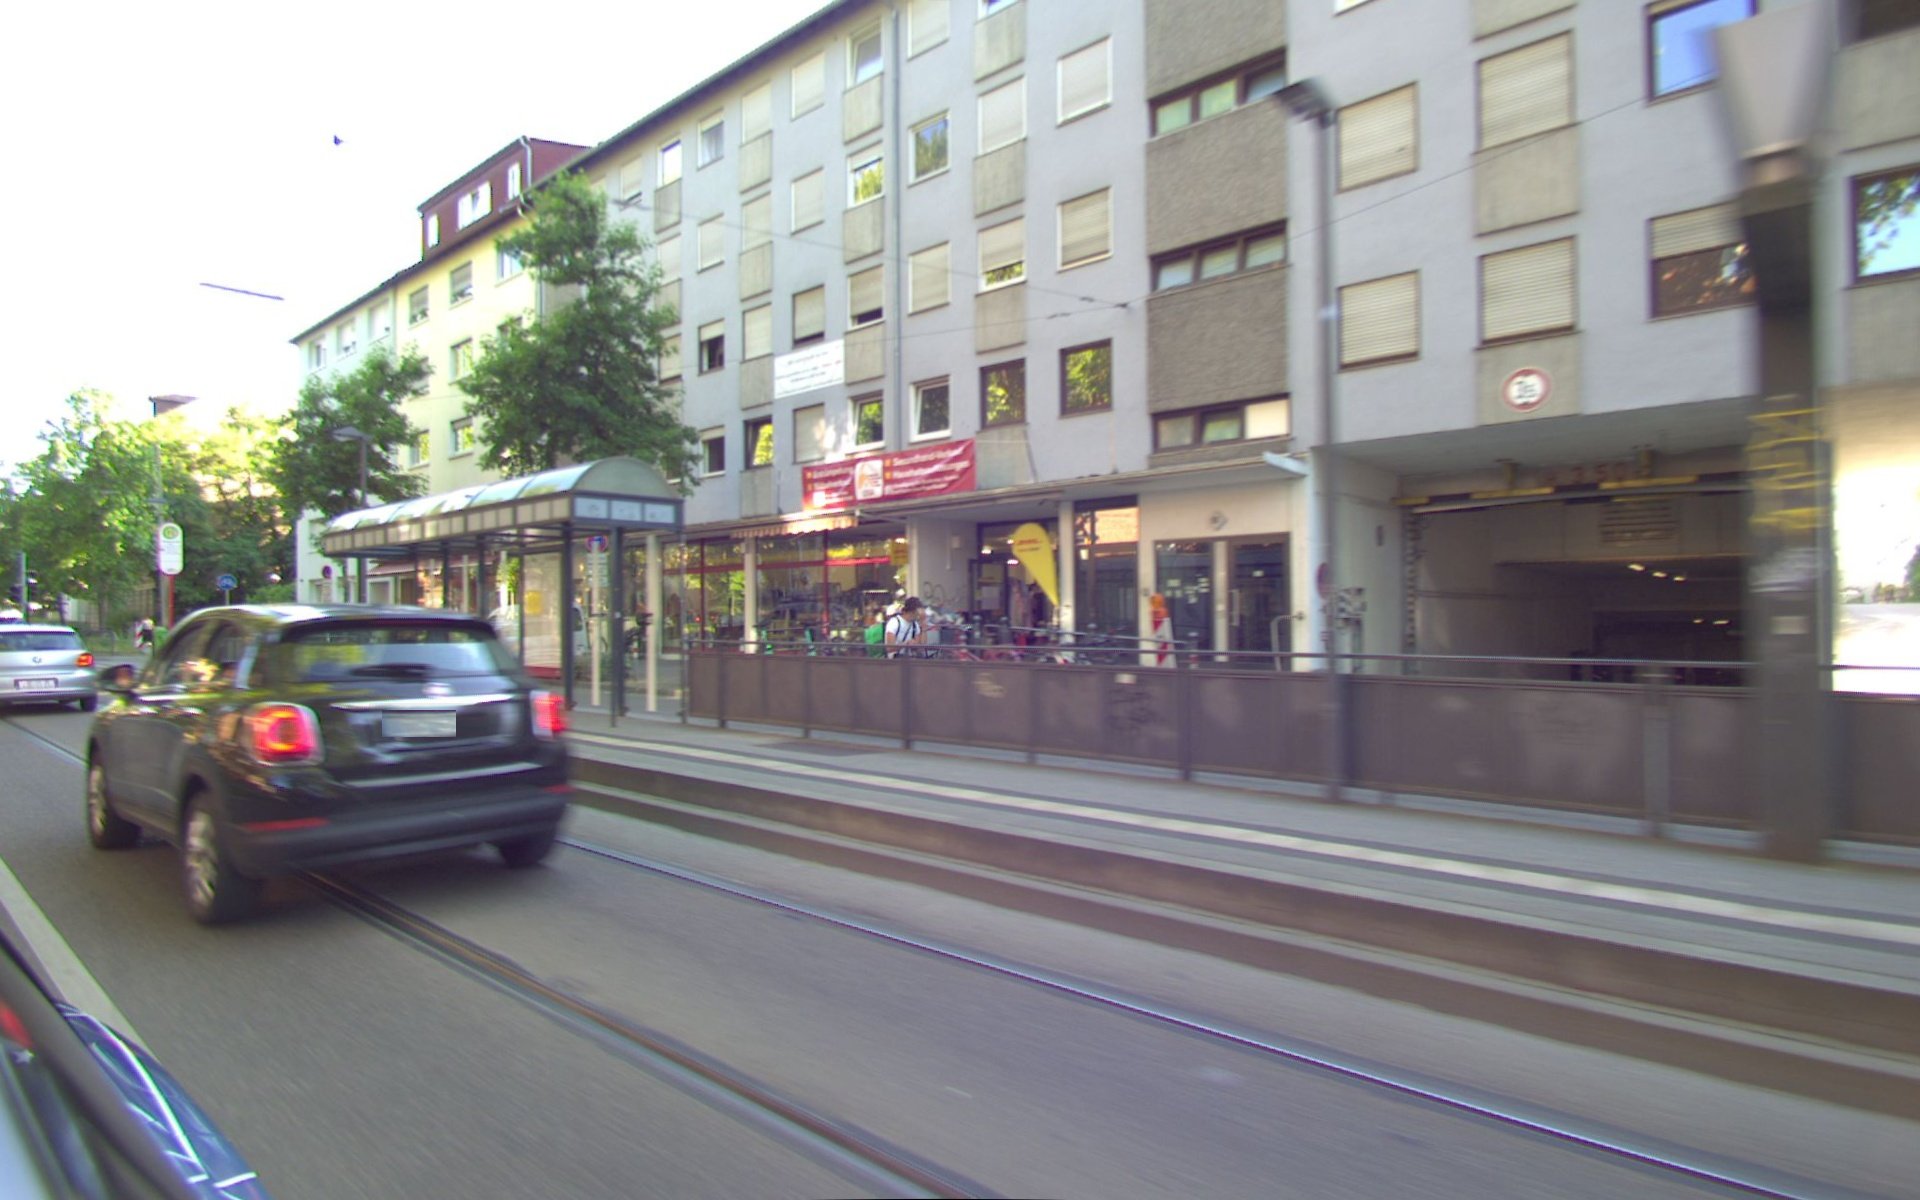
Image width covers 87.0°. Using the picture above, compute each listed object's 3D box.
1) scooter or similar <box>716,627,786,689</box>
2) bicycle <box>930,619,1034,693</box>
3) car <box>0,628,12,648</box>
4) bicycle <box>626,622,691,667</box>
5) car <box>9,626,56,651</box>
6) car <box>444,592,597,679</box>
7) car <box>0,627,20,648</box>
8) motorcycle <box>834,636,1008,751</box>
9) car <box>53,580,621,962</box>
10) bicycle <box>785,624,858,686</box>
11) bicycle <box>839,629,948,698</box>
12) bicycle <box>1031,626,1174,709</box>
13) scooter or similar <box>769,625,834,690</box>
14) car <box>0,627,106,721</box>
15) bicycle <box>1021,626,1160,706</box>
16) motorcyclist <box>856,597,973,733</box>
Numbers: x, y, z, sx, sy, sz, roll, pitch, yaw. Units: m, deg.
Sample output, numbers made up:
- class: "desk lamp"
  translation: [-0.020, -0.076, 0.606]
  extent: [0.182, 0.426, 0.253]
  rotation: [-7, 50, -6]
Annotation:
- class: "scooter or similar"
  translation: [-4.042, 1.114, 19.619]
  extent: [1.259, 1.183, 0.445]
  rotation: [0, -2, 5]
- class: "bicycle"
  translation: [0.346, 0.905, 16.773]
  extent: [1.748, 1.165, 0.488]
  rotation: [-1, -2, 36]
- class: "car"
  translation: [-75.889, 2.993, 79.393]
  extent: [3.678, 1.542, 1.971]
  rotation: [-2, -2, 44]
- class: "bicycle"
  translation: [-8.178, 1.193, 27.443]
  extent: [2.033, 1.165, 0.565]
  rotation: [-1, -2, 36]
- class: "car"
  translation: [-60.442, 2.505, 65.932]
  extent: [3.678, 1.542, 1.971]
  rotation: [-2, -2, 44]
- class: "car"
  translation: [-10.721, 0.854, 24.592]
  extent: [4.046, 1.949, 1.785]
  rotation: [-1, -2, 40]
- class: "car"
  translation: [-72.265, 2.843, 76.215]
  extent: [3.678, 1.542, 1.971]
  rotation: [-2, -2, 44]
- class: "motorcycle"
  translation: [-0.465, 0.998, 11.432]
  extent: [1.914, 1.173, 0.840]
  rotation: [-2, -2, 41]
- class: "car"
  translation: [-3.975, 0.768, 6.200]
  extent: [3.996, 1.601, 1.744]
  rotation: [-1, -2, 39]
- class: "bicycle"
  translation: [-2.749, 1.068, 19.961]
  extent: [1.688, 1.165, 0.506]
  rotation: [-2, -2, 44]
- class: "bicycle"
  translation: [-1.195, 1.099, 17.932]
  extent: [2.033, 1.165, 0.565]
  rotation: [-1, -2, 36]
- class: "bicycle"
  translation: [2.090, 0.976, 14.928]
  extent: [2.019, 1.165, 0.556]
  rotation: [-1, -2, 26]
- class: "scooter or similar"
  translation: [-2.962, 1.056, 18.856]
  extent: [1.272, 1.183, 0.440]
  rotation: [-1, -2, 36]
- class: "car"
  translation: [-16.068, 1.193, 17.243]
  extent: [3.998, 1.437, 1.743]
  rotation: [-2, -2, 41]
- class: "bicycle"
  translation: [1.969, 0.977, 15.355]
  extent: [2.019, 1.165, 0.556]
  rotation: [-1, -2, 26]
- class: "motorcyclist"
  translation: [-0.515, 0.712, 11.465]
  extent: [1.015, 1.451, 0.864]
  rotation: [-2, -2, 40]
